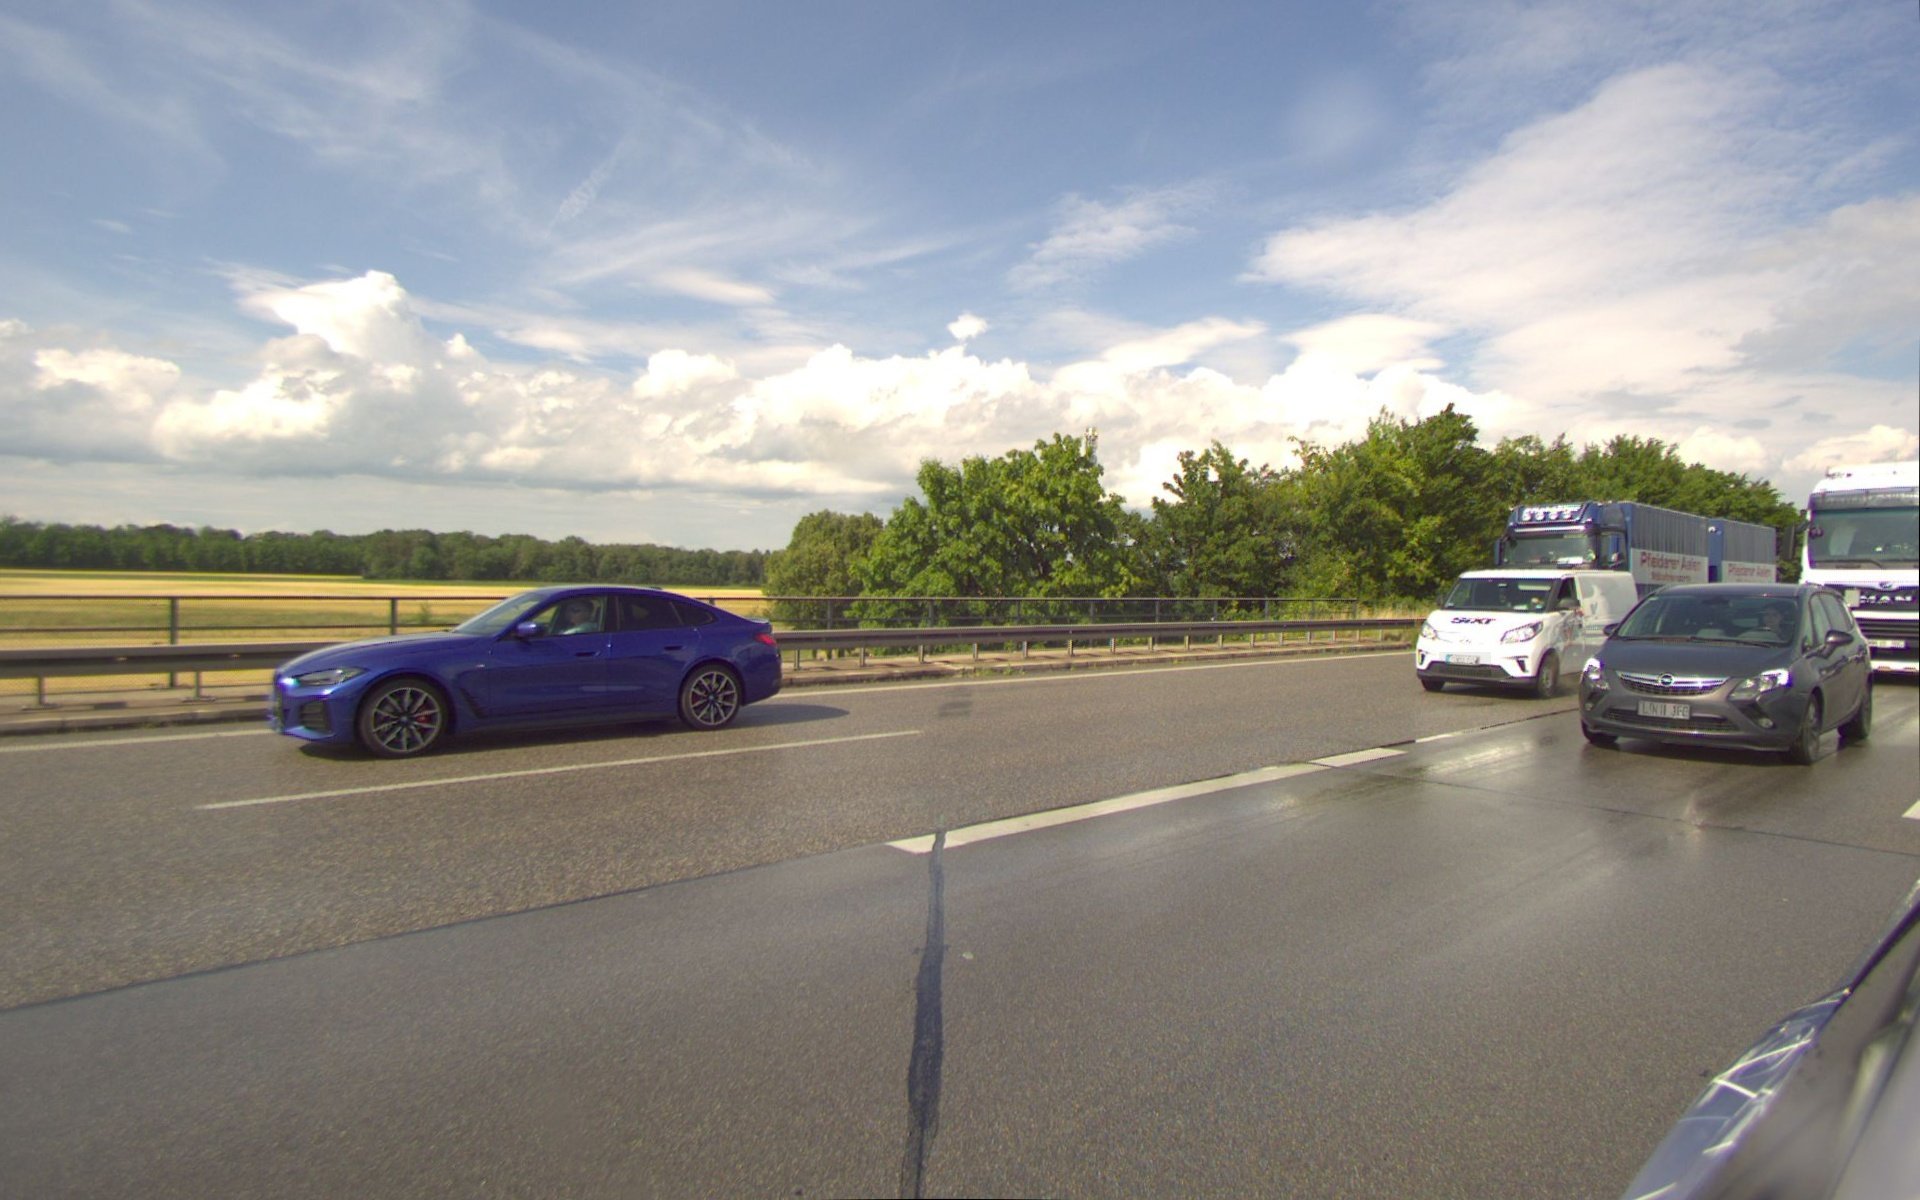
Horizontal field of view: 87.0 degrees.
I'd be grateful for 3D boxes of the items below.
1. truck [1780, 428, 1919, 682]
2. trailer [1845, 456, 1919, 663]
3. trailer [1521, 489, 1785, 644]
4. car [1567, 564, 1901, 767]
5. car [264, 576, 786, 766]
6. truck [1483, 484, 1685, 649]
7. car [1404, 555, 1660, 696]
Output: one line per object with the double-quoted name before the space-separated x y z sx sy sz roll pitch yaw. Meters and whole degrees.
"truck" 18.358 -0.774 19.257 7.311 4.158 2.817 -1 0 -39
"trailer" 23.805 -0.865 23.667 11.331 4.158 2.789 -1 0 -39
"trailer" 22.876 -0.998 32.628 16.057 4.003 3.110 -1 1 -41
"car" 8.084 0.511 10.421 4.319 1.668 1.882 0 1 -41
"car" -4.108 0.529 10.015 4.427 1.481 1.790 -1 0 -41
"truck" 17.088 -0.881 27.590 5.764 4.003 3.110 -1 1 -41
"car" 9.201 0.307 16.062 5.077 1.909 1.953 -1 1 -41
